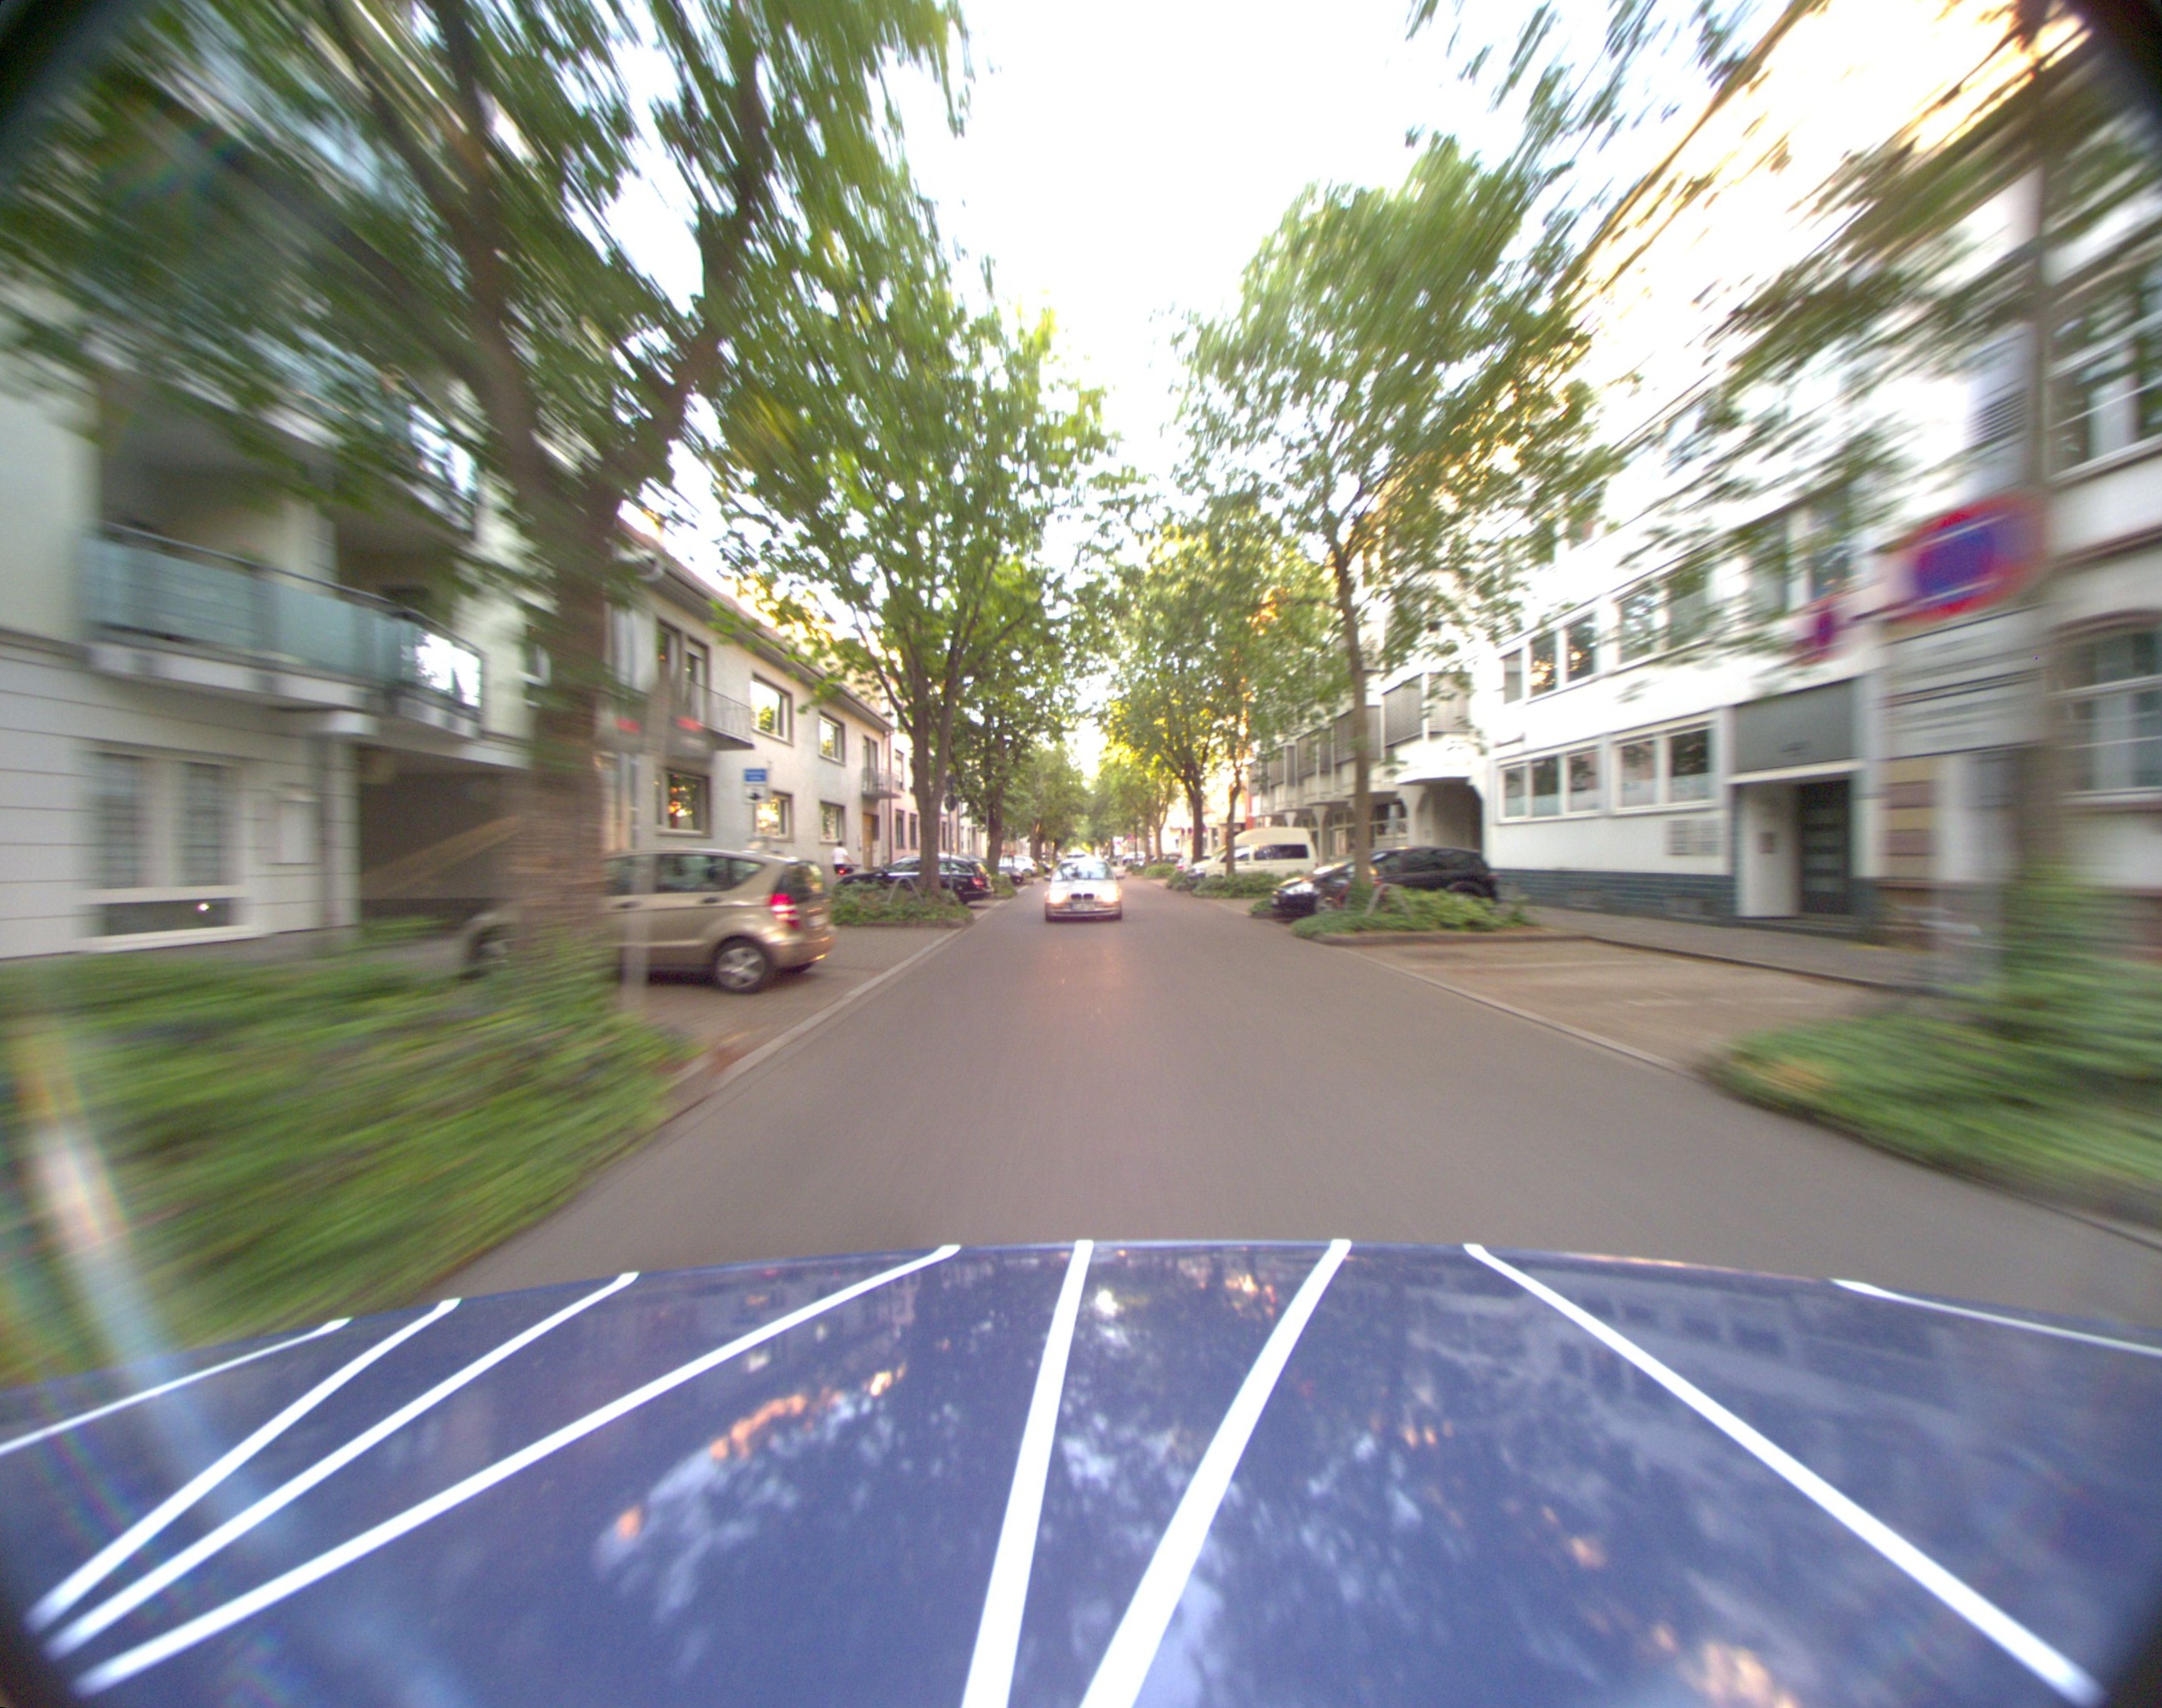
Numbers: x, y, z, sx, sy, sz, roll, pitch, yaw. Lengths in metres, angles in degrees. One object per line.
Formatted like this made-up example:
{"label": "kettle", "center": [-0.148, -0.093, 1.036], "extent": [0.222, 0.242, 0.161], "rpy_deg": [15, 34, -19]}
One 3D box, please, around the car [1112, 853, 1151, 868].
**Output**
{"label": "car", "center": [6.220, 0.773, 93.128], "extent": [4.601, 1.725, 2.142], "rpy_deg": [-1, 0, 5]}

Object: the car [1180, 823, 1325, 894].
{"label": "car", "center": [6.448, 0.167, 29.006], "extent": [5.016, 2.558, 2.121], "rpy_deg": [-1, 0, 0]}

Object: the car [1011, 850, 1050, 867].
{"label": "car", "center": [-4.806, 0.460, 72.795], "extent": [3.732, 1.544, 1.754], "rpy_deg": [-1, 0, -3]}

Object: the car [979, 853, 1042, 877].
{"label": "car", "center": [-4.718, 0.716, 51.289], "extent": [4.093, 1.482, 1.797], "rpy_deg": [-1, 0, -3]}

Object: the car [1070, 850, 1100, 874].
{"label": "car", "center": [0.355, 0.537, 56.010], "extent": [1.892, 1.636, 4.001], "rpy_deg": [-2, 0, 4]}

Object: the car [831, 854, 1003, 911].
{"label": "car", "center": [-4.694, 0.783, 22.149], "extent": [4.468, 1.419, 2.011], "rpy_deg": [2, 1, 4]}

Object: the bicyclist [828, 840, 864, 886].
{"label": "bicyclist", "center": [-8.307, 0.299, 26.883], "extent": [0.973, 1.595, 1.135], "rpy_deg": [-1, 1, -4]}

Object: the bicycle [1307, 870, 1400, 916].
{"label": "bicycle", "center": [5.170, 0.739, 14.472], "extent": [1.556, 0.826, 0.613], "rpy_deg": [-1, 1, 3]}

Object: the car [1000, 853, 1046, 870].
{"label": "car", "center": [-4.907, 0.657, 64.111], "extent": [3.846, 1.403, 1.712], "rpy_deg": [0, 0, -5]}

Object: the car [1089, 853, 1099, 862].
{"label": "car", "center": [2.474, 0.612, 145.859], "extent": [1.787, 1.679, 4.384], "rpy_deg": [-1, 0, -2]}

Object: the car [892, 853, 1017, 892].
{"label": "car", "center": [-5.092, 0.734, 30.997], "extent": [4.689, 1.380, 2.000], "rpy_deg": [2, 1, 1]}

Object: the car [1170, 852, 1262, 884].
{"label": "car", "center": [6.538, 0.680, 37.249], "extent": [4.178, 1.460, 1.953], "rpy_deg": [-1, 0, 1]}

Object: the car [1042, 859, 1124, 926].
{"label": "car", "center": [0.032, 0.837, 18.507], "extent": [1.737, 1.363, 4.332], "rpy_deg": [-1, 0, 0]}

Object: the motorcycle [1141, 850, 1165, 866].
{"label": "motorcycle", "center": [7.002, 0.376, 73.866], "extent": [2.234, 1.461, 0.900], "rpy_deg": [-1, 1, -23]}

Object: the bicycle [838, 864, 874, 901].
{"label": "bicycle", "center": [-8.038, 0.975, 27.270], "extent": [0.622, 1.157, 3.399], "rpy_deg": [-1, 0, -6]}

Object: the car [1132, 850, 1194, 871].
{"label": "car", "center": [6.212, 0.515, 58.124], "extent": [4.521, 1.517, 1.871], "rpy_deg": [-1, 0, 0]}

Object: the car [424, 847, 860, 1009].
{"label": "car", "center": [-4.890, 0.774, 8.950], "extent": [3.979, 1.576, 1.916], "rpy_deg": [2, 1, -1]}

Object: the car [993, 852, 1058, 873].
{"label": "car", "center": [-4.248, 0.655, 59.171], "extent": [4.887, 1.488, 1.988], "rpy_deg": [-1, 0, 0]}

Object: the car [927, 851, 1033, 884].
{"label": "car", "center": [-4.926, 0.650, 37.462], "extent": [4.851, 1.440, 2.042], "rpy_deg": [1, 1, 2]}

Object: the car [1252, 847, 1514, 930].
{"label": "car", "center": [6.415, 0.702, 16.599], "extent": [4.865, 1.612, 2.160], "rpy_deg": [-1, 1, 1]}
